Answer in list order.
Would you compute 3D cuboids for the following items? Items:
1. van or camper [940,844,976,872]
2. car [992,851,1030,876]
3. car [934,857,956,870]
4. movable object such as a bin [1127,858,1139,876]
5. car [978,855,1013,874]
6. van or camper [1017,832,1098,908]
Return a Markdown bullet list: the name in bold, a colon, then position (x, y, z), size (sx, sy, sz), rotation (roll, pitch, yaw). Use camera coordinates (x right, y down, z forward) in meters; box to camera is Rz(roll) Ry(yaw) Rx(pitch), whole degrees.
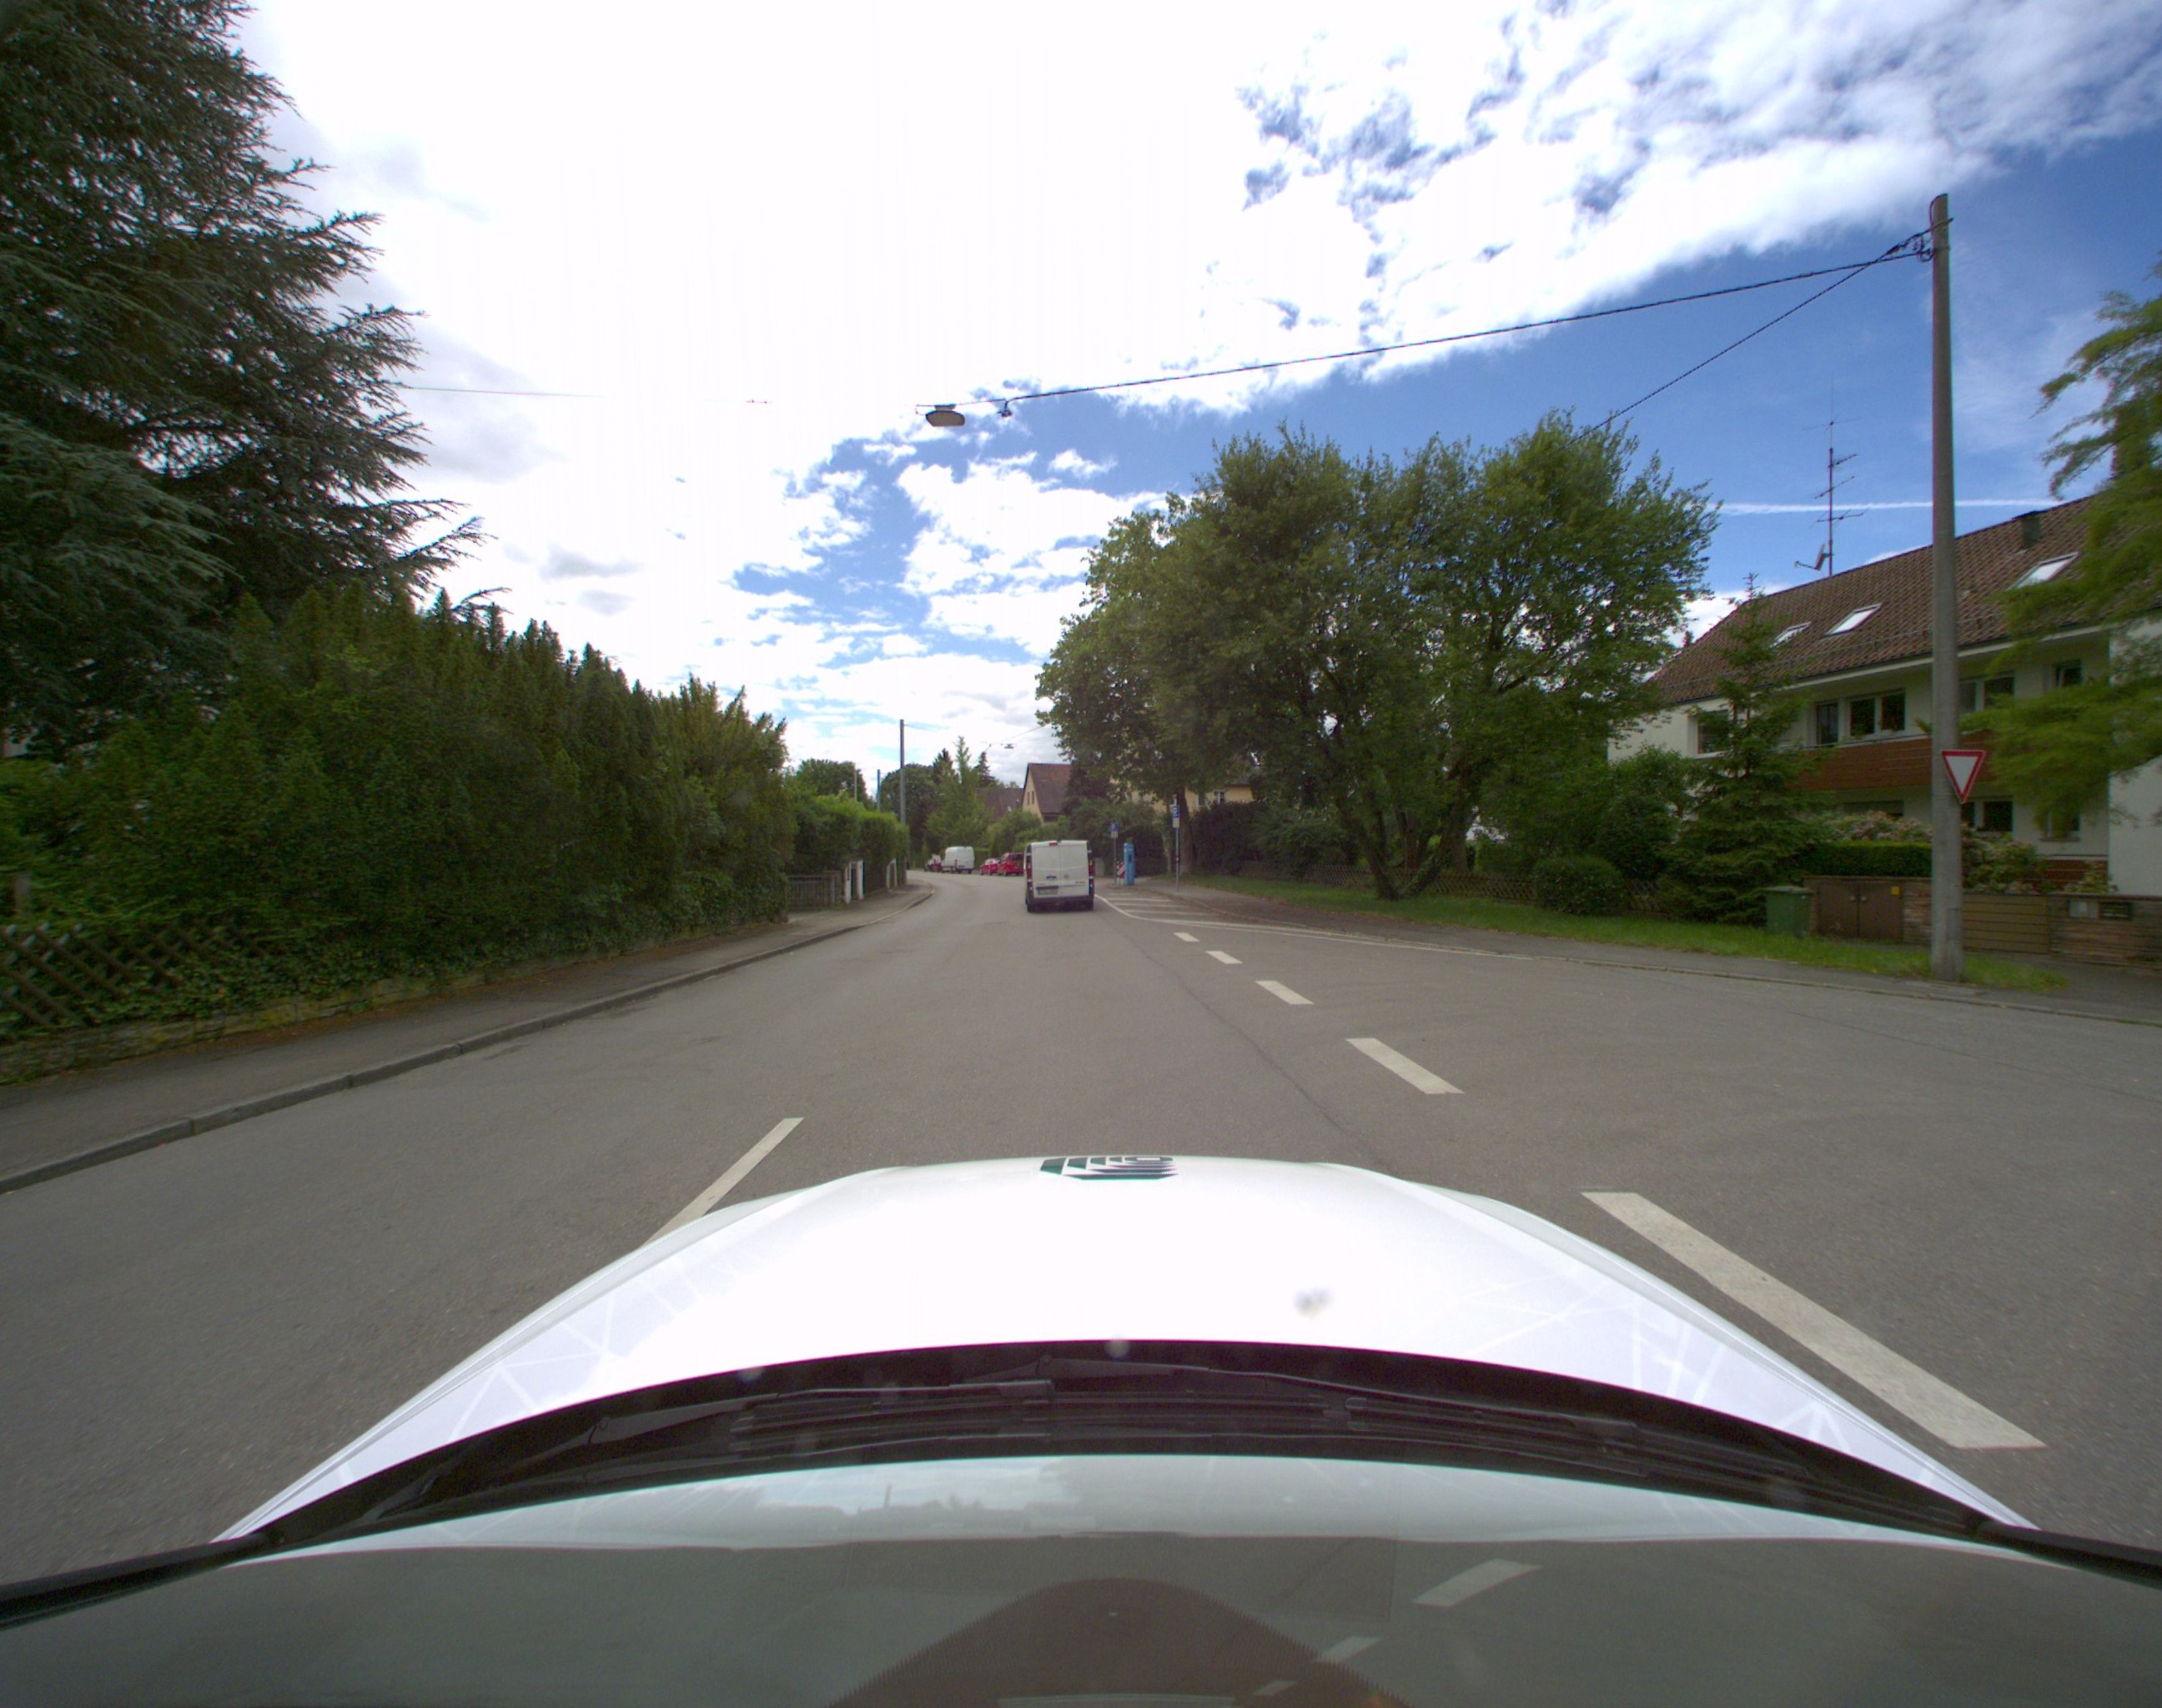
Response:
- **van or camper**: position (-12.300, 0.354, 80.986), size (2.075, 2.674, 6.281), rotation (-1, 0, -22)
- **car**: position (-5.488, 0.716, 63.093), size (1.766, 1.797, 4.916), rotation (0, 0, -19)
- **car**: position (-14.656, 0.993, 87.803), size (1.536, 1.304, 4.001), rotation (0, 0, -22)
- **movable object such as a bin**: position (2.997, 0.756, 47.054), size (0.603, 1.069, 0.567), rotation (0, -1, -6)
- **car**: position (-7.150, 0.867, 67.800), size (1.720, 1.467, 4.235), rotation (0, 0, -23)
- **van or camper**: position (-0.813, 0.383, 24.047), size (1.922, 2.013, 4.817), rotation (0, 1, -7)
